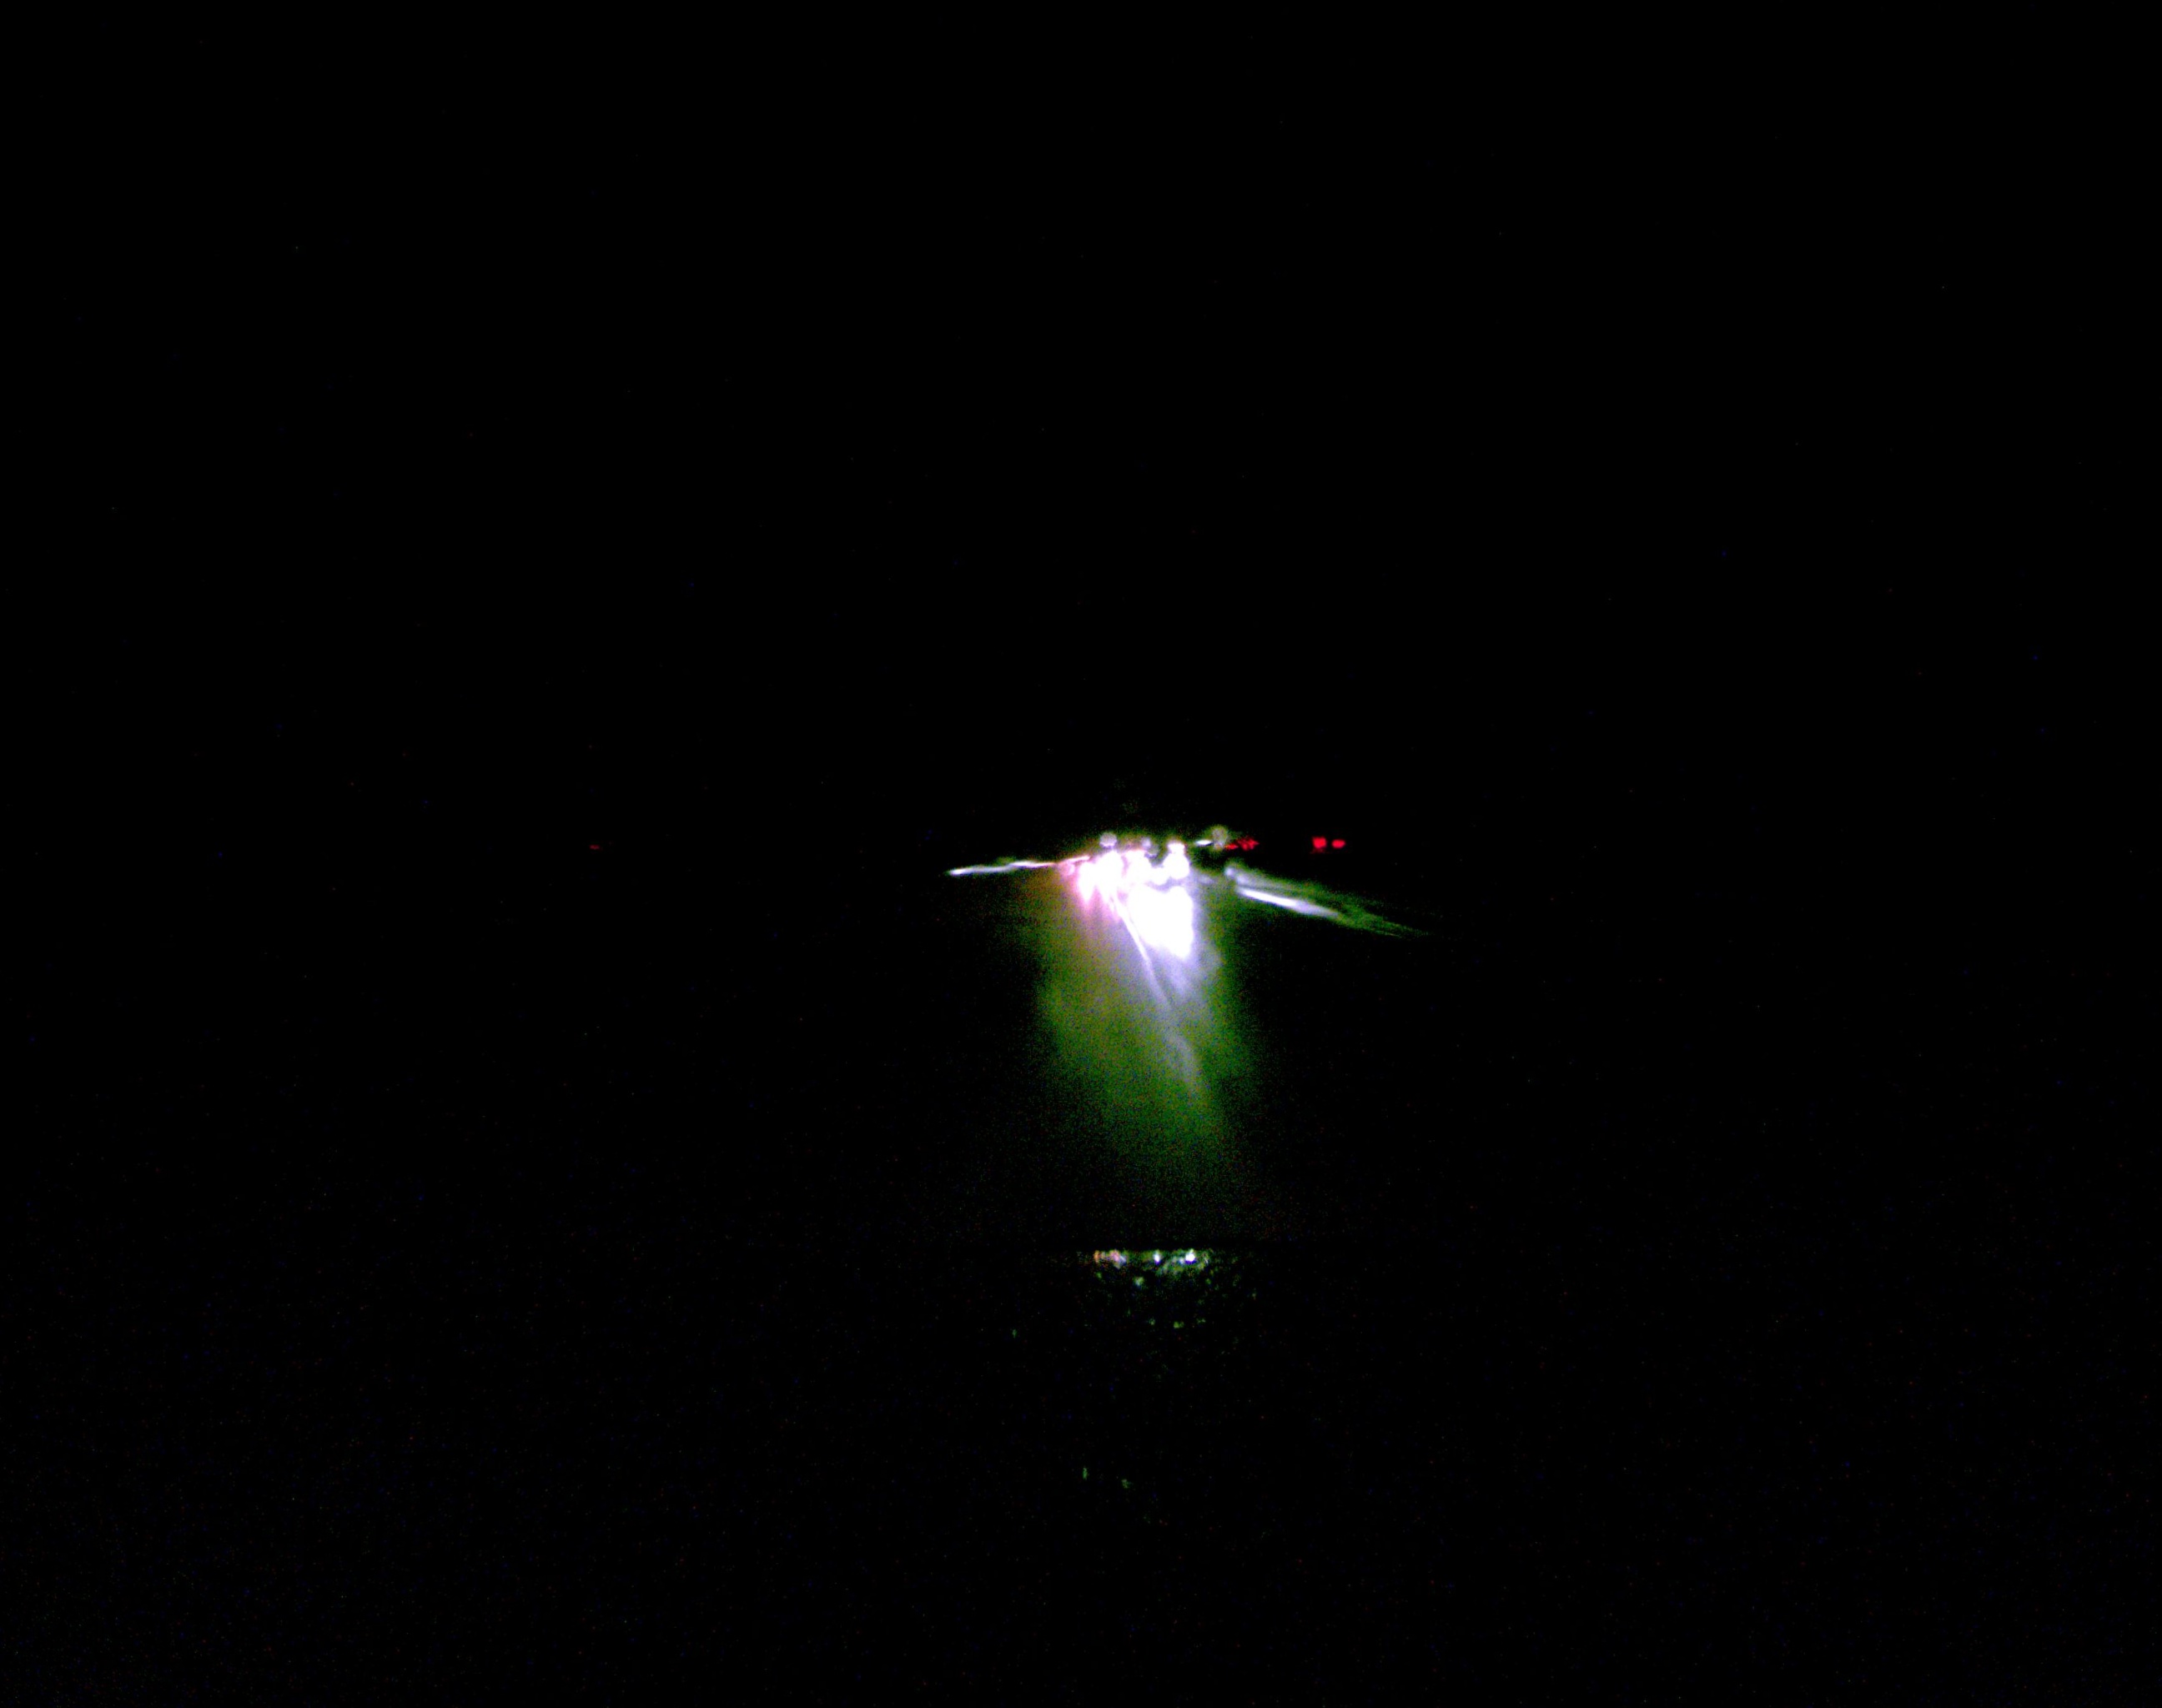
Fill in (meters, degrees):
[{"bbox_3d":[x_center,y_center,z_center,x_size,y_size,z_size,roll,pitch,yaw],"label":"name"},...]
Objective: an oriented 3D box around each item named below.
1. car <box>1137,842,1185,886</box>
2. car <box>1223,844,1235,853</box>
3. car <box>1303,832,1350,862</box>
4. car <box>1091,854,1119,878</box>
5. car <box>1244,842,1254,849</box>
[{"bbox_3d":[4.143,0.507,38.866,1.997,2.001,4.003,-4,-1,10],"label":"car"},{"bbox_3d":[31.108,-1.164,159.925,1.998,1.469,4.003,-6,-1,7],"label":"car"},{"bbox_3d":[17.429,-0.462,54.164,1.998,1.842,4.001,-6,-1,2],"label":"car"},{"bbox_3d":[1.824,0.850,55.972,1.804,1.608,4.257,-2,1,5],"label":"car"},{"bbox_3d":[41.589,-2.143,188.273,1.997,1.595,4.003,-6,-1,9],"label":"car"}]
